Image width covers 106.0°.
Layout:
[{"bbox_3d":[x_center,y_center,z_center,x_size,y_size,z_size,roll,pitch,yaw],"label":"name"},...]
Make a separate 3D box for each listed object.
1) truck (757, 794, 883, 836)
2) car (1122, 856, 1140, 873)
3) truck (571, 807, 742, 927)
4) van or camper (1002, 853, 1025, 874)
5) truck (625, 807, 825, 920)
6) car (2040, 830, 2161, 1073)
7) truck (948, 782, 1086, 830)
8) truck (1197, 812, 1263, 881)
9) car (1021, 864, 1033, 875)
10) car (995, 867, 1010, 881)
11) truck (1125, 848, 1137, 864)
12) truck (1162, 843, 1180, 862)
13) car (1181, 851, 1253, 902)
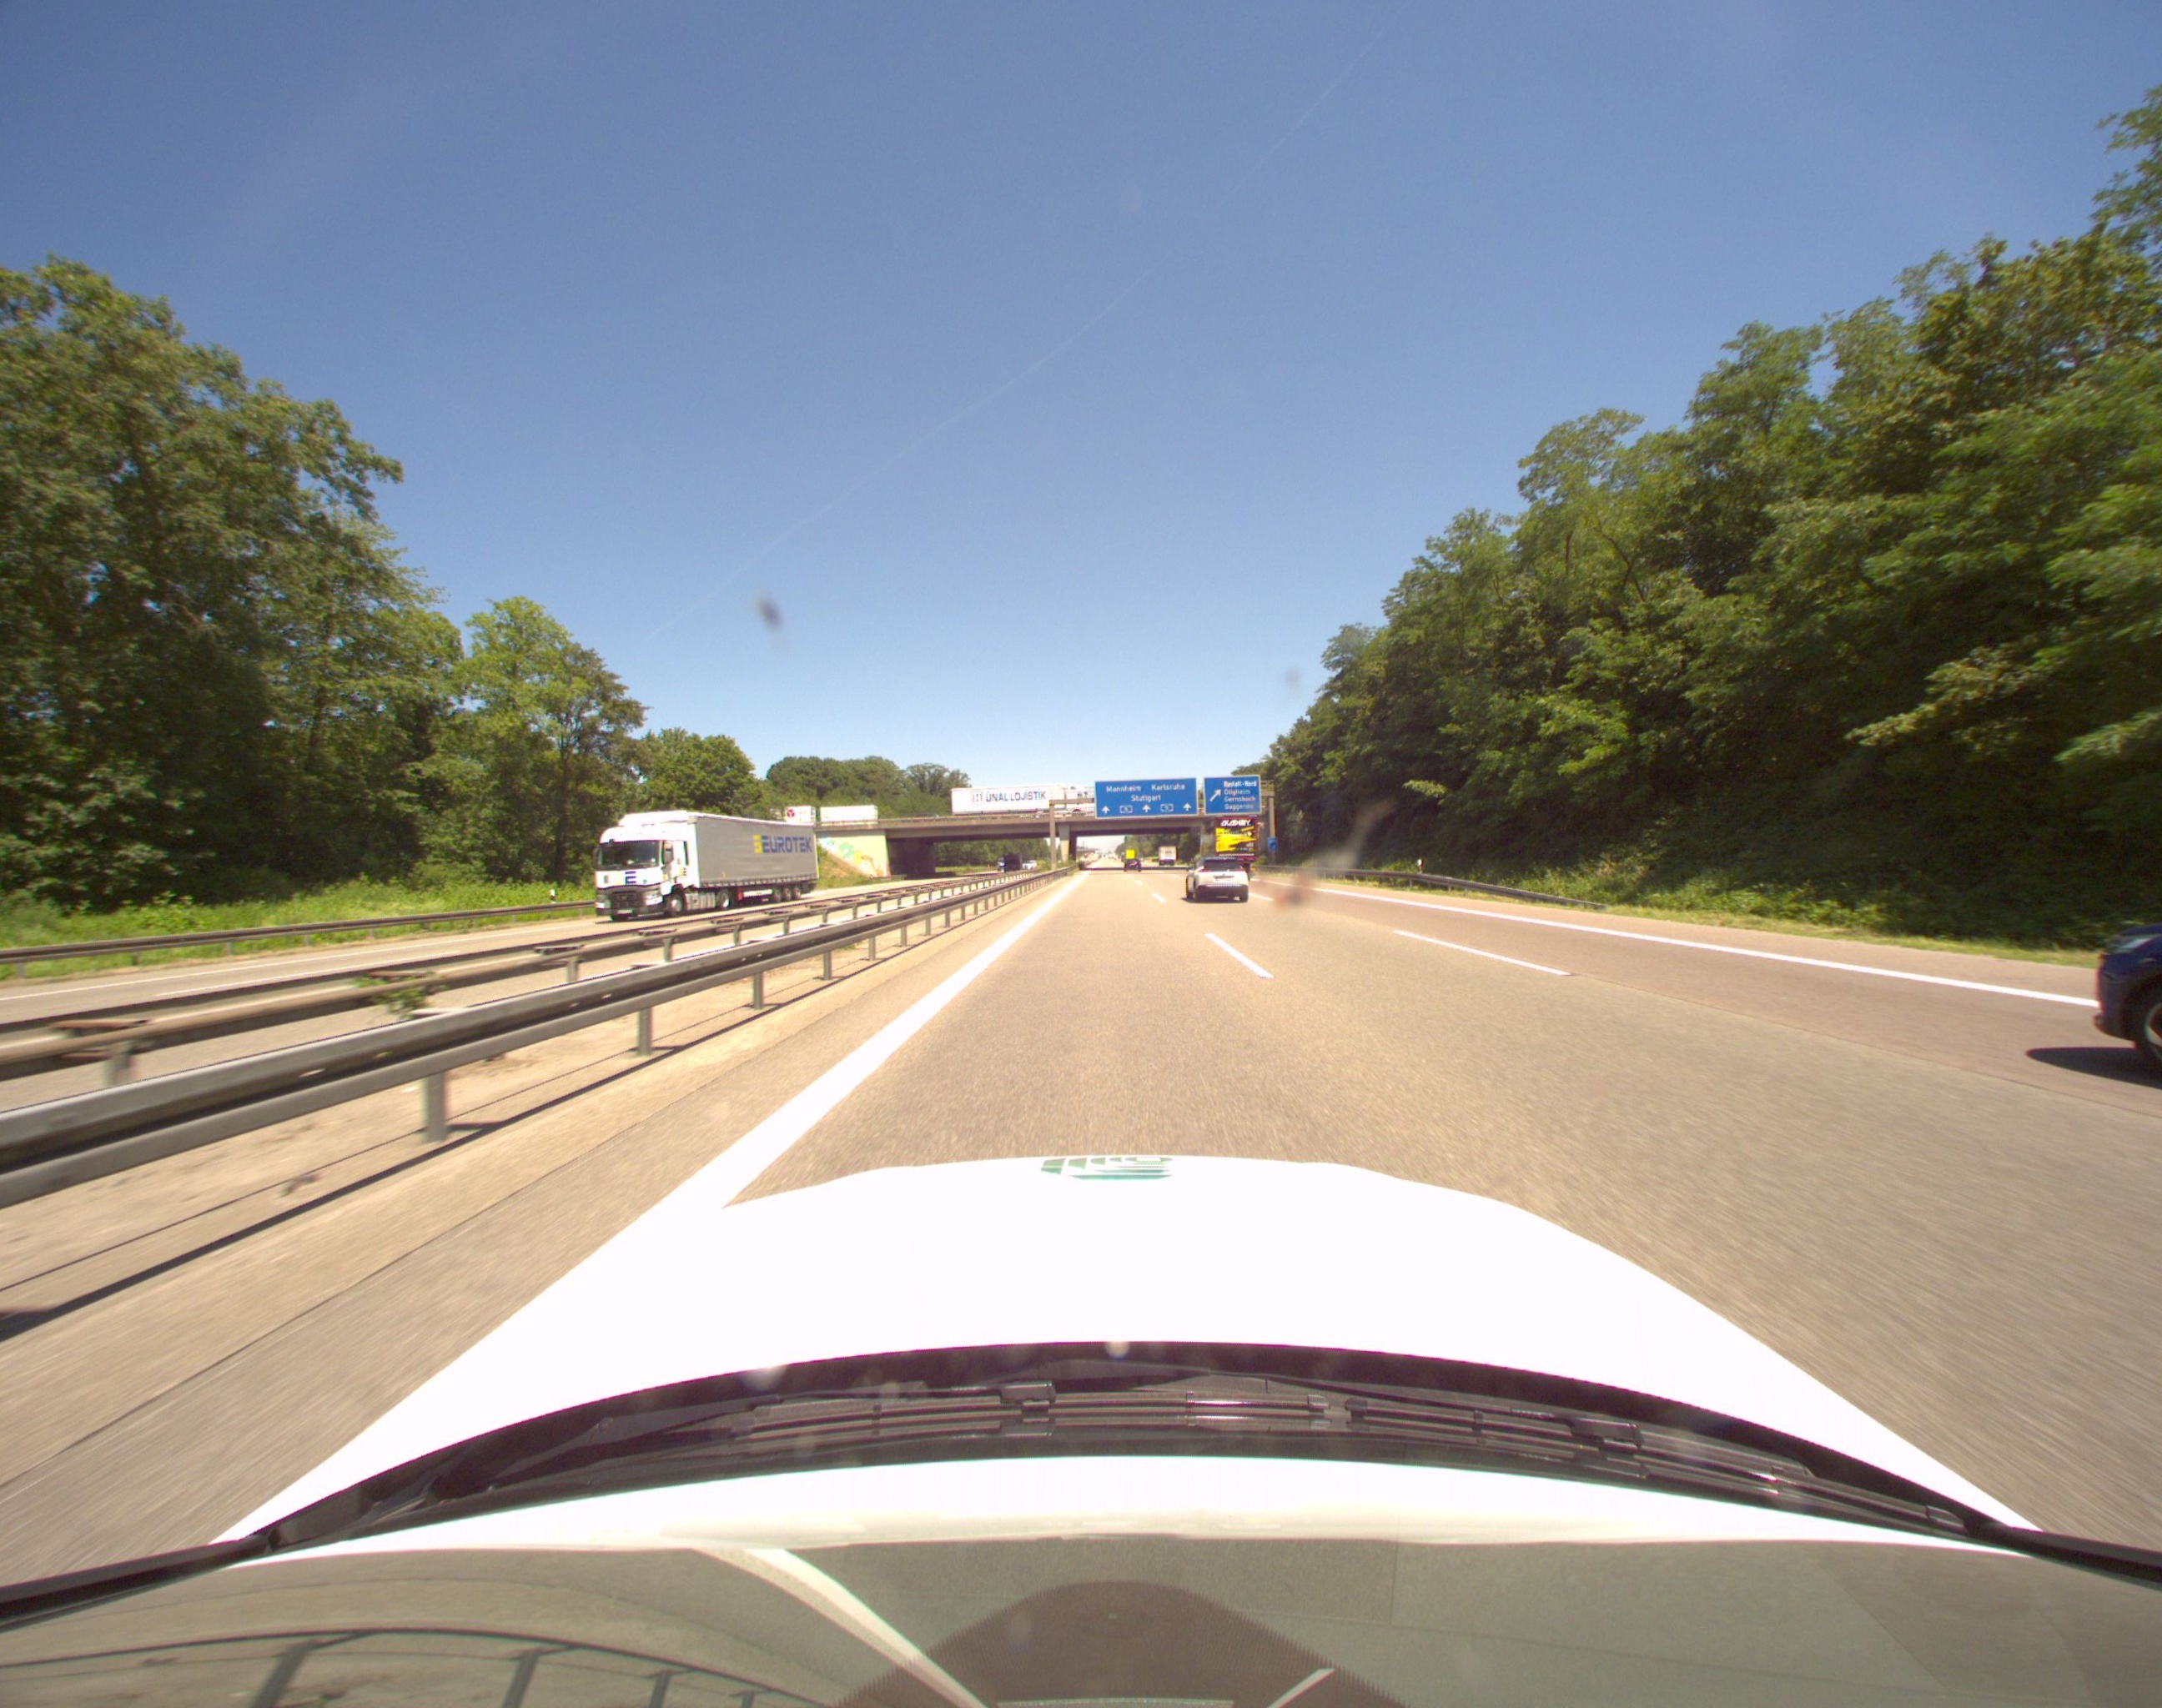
[{"bbox_3d":[-36.431,-5.455,114.384,16.439,5.566,3.168,0,-1,-6],"label":"truck"},{"bbox_3d":[5.283,1.083,86.332,1.820,1.706,4.001,0,-1,1],"label":"car"},{"bbox_3d":[-16.449,0.480,32.194,2.958,4.062,6.461,-4,-1,2],"label":"truck"},{"bbox_3d":[-9.777,1.331,118.411,2.583,2.907,7.236,0,-1,2],"label":"van or camper"},{"bbox_3d":[-16.301,0.432,39.264,3.055,4.251,13.962,-4,-1,1],"label":"truck"},{"bbox_3d":[7.814,0.603,3.774,1.863,1.556,4.203,0,-1,2],"label":"car"},{"bbox_3d":[-7.737,-5.807,99.547,16.426,5.566,3.171,0,-1,-4],"label":"truck"},{"bbox_3d":[9.587,-0.404,53.606,2.962,4.037,10.991,0,-1,3],"label":"truck"},{"bbox_3d":[-9.372,2.648,141.963,1.685,1.816,4.714,0,-1,0],"label":"car"},{"bbox_3d":[-14.014,3.495,145.122,2.082,2.399,5.734,0,-1,0],"label":"car"},{"bbox_3d":[16.254,0.759,265.743,3.363,4.881,15.095,0,-1,3],"label":"truck"},{"bbox_3d":[16.008,-0.200,145.583,3.013,3.319,10.788,0,-1,6],"label":"truck"},{"bbox_3d":[4.696,0.742,28.724,1.820,1.608,4.810,-1,-1,1],"label":"car"}]
